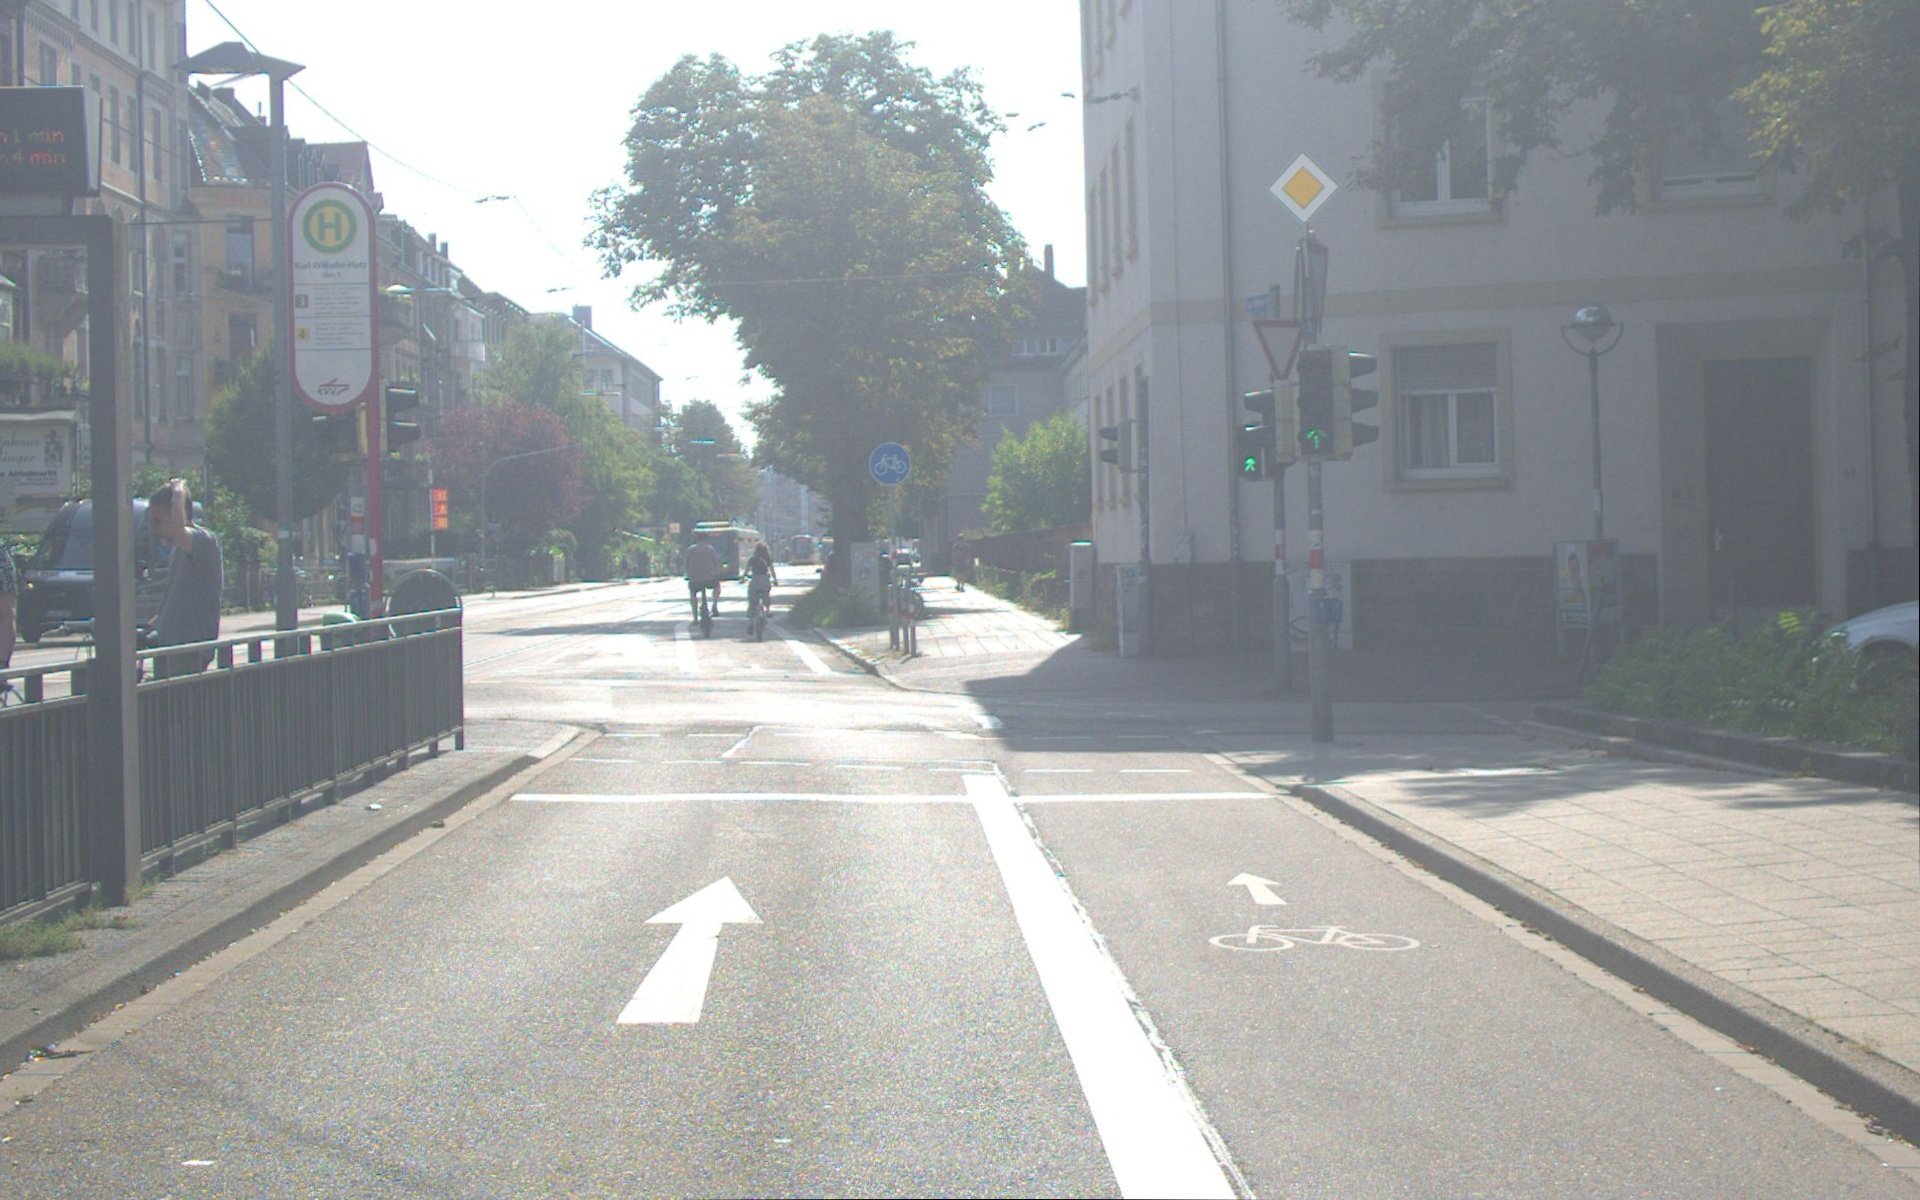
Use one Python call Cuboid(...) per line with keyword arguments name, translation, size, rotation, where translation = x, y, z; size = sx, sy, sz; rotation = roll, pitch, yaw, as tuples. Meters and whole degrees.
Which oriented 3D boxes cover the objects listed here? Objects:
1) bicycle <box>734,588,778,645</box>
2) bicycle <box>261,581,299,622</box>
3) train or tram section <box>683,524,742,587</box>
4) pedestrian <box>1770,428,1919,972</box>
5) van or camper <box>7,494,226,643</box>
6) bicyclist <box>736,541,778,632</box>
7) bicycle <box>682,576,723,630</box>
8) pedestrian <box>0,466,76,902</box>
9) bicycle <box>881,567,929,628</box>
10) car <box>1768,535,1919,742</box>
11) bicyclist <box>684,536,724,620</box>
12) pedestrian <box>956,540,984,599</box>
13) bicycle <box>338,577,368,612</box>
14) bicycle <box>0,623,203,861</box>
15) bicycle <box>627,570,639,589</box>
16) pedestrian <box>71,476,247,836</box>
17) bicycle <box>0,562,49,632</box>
Cuboid(name="bicycle", translation=(-3.339, 0.256, 56.337), size=(0.654, 0.906, 1.775), rotation=(1, 0, -2))
Cuboid(name="bicycle", translation=(-18.415, 0.030, 93.057), size=(0.606, 1.054, 1.839), rotation=(3, 1, 0))
Cuboid(name="train or tram section", translation=(-14.281, -2.572, 199.015), size=(2.734, 3.493, 15.434), rotation=(-1, 1, -2))
Cuboid(name="pedestrian", translation=(3.405, 0.287, 11.138), size=(0.966, 1.719, 1.080), rotation=(-5, 1, -21))
Cuboid(name="van or camper", translation=(-15.938, -0.594, 65.317), size=(2.051, 2.635, 6.088), rotation=(-2, 0, 6))
Cuboid(name="bicyclist", translation=(-3.325, -0.226, 56.319), size=(0.654, 1.469, 0.909), rotation=(1, 0, -2))
Cuboid(name="bicycle", translation=(-4.344, 0.044, 58.068), size=(0.626, 0.906, 1.525), rotation=(1, 0, -2))
Cuboid(name="pedestrian", translation=(-4.124, 0.339, 14.177), size=(0.767, 1.754, 0.680), rotation=(-1, 1, -2))
Cuboid(name="bicycle", translation=(-1.036, -0.062, 64.587), size=(0.771, 1.100, 2.334), rotation=(-1, 1, -4))
Cuboid(name="car", translation=(8.710, 0.247, 25.450), size=(4.949, 1.464, 1.872), rotation=(-1, 3, 40))
Cuboid(name="bicyclist", translation=(-4.320, -0.376, 58.076), size=(0.626, 1.396, 0.929), rotation=(1, 0, -2))
Cuboid(name="pedestrian", translation=(0.298, -0.901, 102.264), size=(0.752, 1.743, 0.878), rotation=(-1, 1, 5))
Cuboid(name="bicycle", translation=(-18.727, -0.169, 106.014), size=(0.545, 1.054, 1.839), rotation=(3, 1, 0))
Cuboid(name="bicycle", translation=(-4.376, 0.692, 17.440), size=(0.472, 1.100, 1.737), rotation=(-1, 1, 7))
Cuboid(name="bicycle", translation=(-21.153, -1.316, 222.353), size=(0.561, 1.217, 2.113), rotation=(-1, 0, 1))
Cuboid(name="pedestrian", translation=(-4.014, 0.269, 17.277), size=(0.689, 1.760, 0.796), rotation=(-1, 1, -2))
Cuboid(name="bicycle", translation=(-20.629, -0.062, 72.028), size=(2.874, 1.450, 0.998), rotation=(0, 1, -7))
